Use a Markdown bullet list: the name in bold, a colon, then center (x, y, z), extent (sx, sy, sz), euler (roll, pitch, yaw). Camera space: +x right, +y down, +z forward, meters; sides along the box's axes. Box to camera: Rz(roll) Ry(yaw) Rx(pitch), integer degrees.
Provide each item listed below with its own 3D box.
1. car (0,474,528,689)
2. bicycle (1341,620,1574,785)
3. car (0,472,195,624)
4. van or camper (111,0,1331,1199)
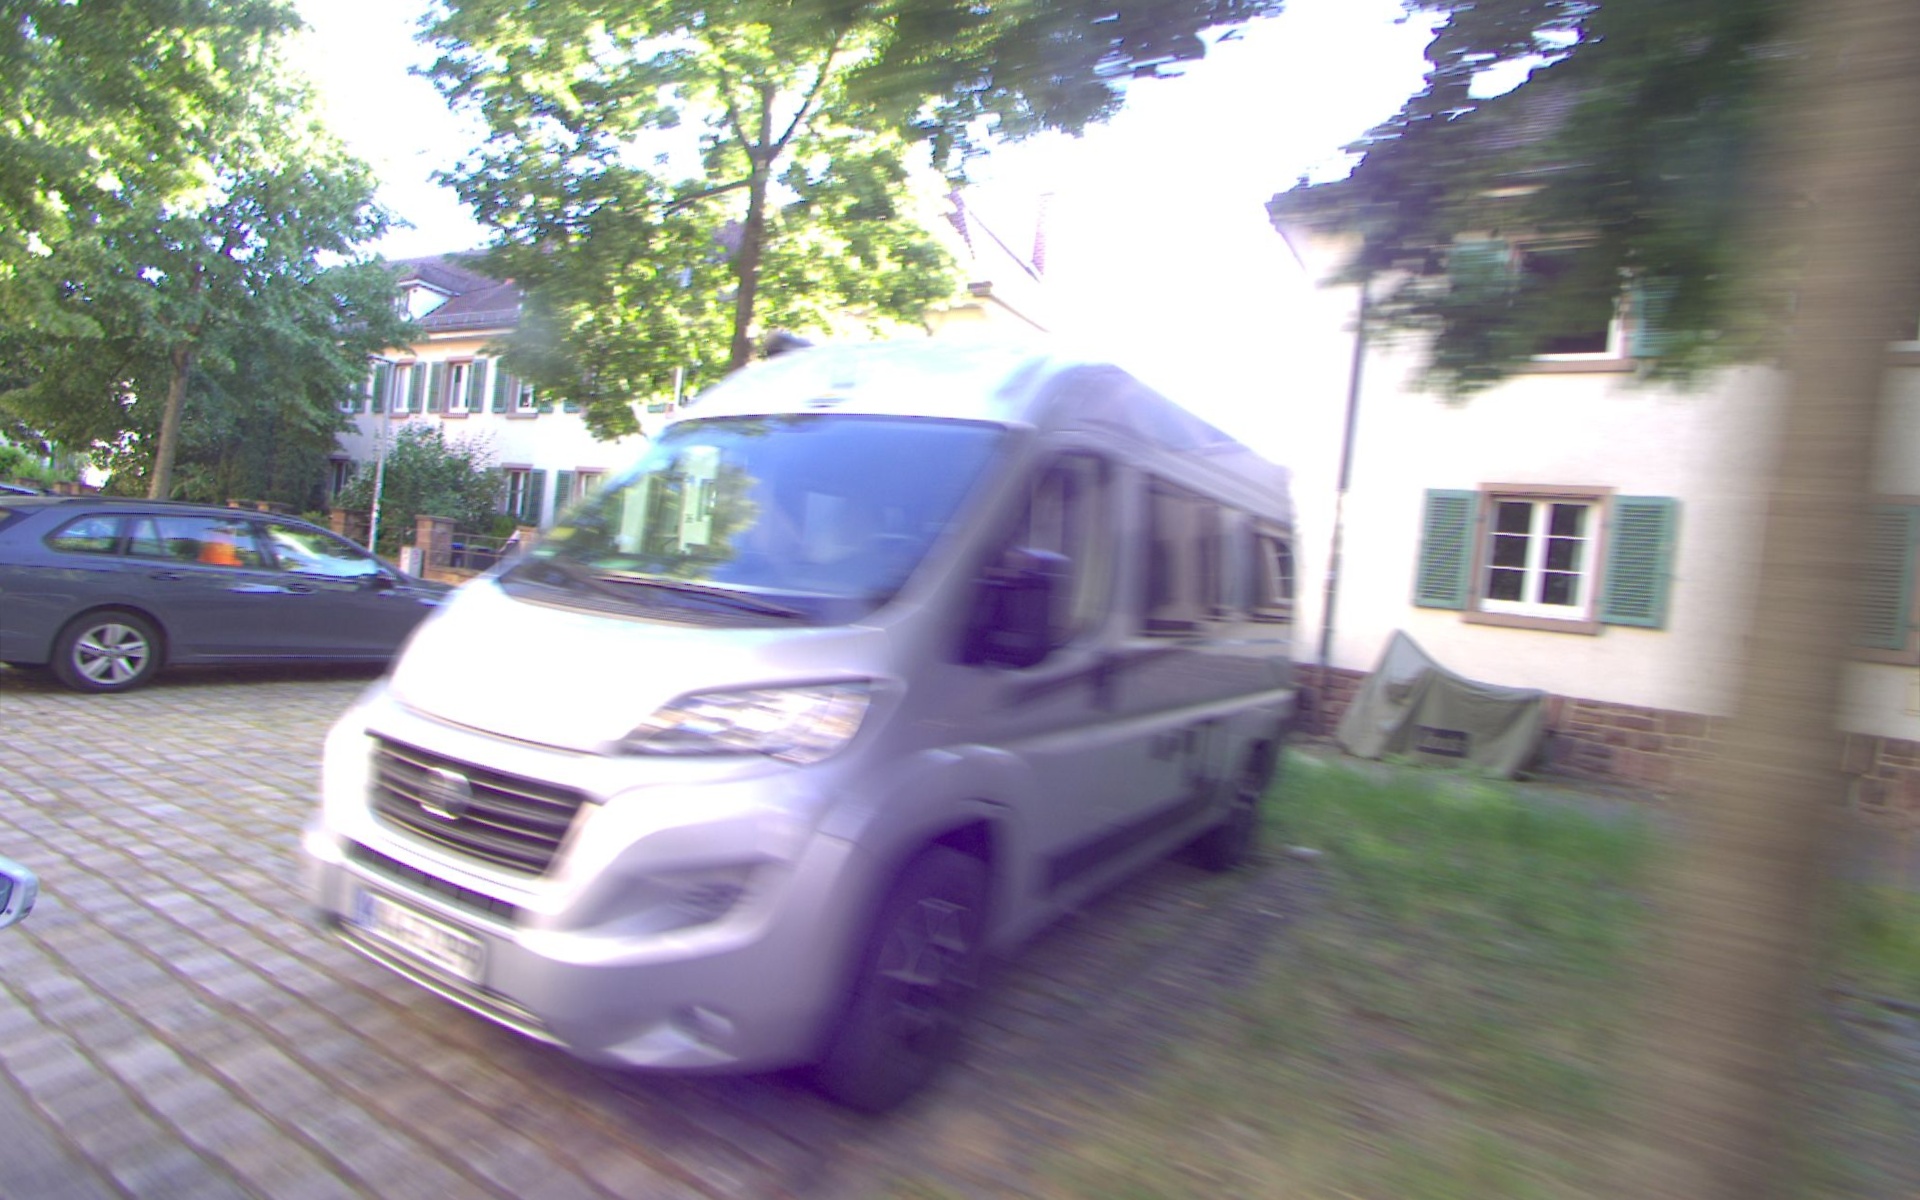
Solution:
- **car**: center (-6.411, -0.090, 8.844), extent (1.786, 1.471, 4.505), euler (6, 0, 32)
- **bicycle**: center (5.161, 1.037, 10.605), extent (1.967, 1.417, 0.802), euler (6, 1, 19)
- **car**: center (-11.354, -0.659, 11.113), extent (1.723, 1.626, 4.248), euler (5, 0, 28)
- **van or camper**: center (-0.021, 0.056, 4.715), extent (2.230, 2.570, 5.577), euler (5, 1, 30)
